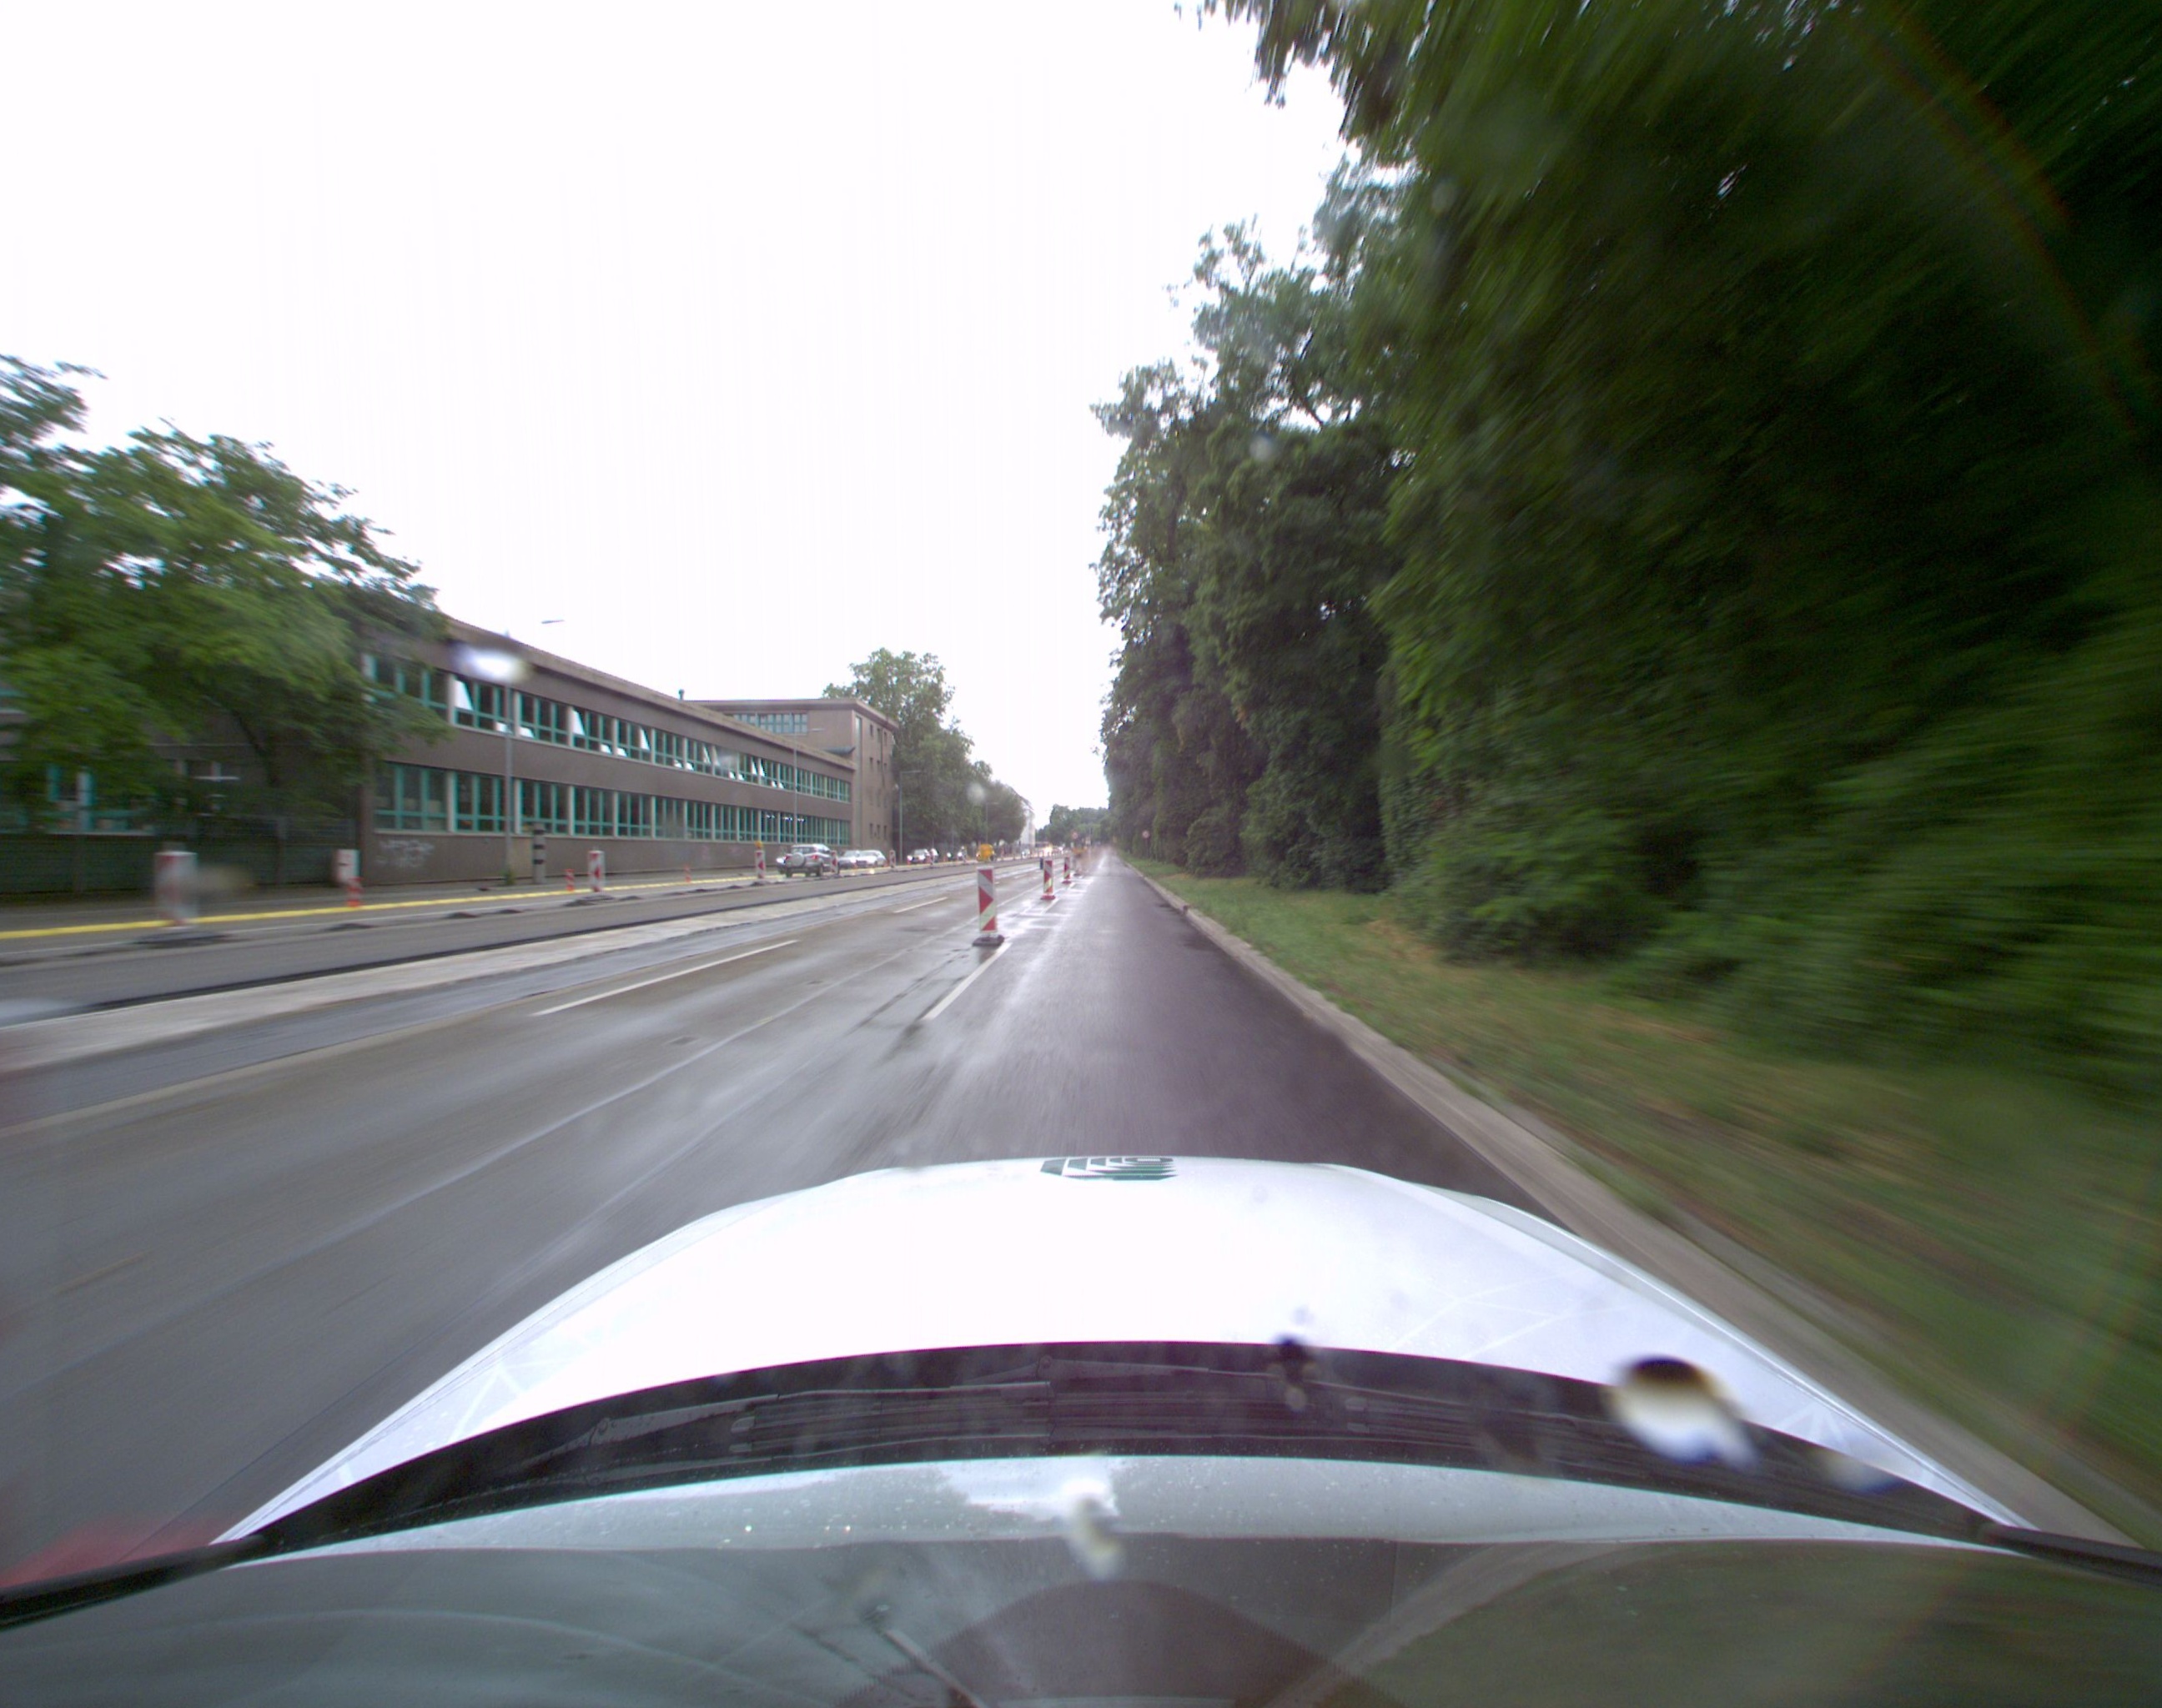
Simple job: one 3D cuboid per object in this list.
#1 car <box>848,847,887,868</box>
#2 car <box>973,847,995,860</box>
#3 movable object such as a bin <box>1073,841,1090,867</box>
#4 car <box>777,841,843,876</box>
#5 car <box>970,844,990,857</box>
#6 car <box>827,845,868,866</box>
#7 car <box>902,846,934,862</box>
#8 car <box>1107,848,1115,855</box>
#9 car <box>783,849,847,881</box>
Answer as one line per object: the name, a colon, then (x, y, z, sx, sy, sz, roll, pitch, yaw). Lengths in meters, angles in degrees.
car: (-16.043, 0.244, 61.362, 1.797, 1.534, 3.993, 1, 0, 2)
car: (-11.843, -0.004, 99.550, 1.986, 1.519, 4.001, 1, 0, 2)
movable object such as a bin: (0.082, -0.023, 109.512, 1.986, 3.367, 5.985, 1, 0, 2)
car: (-13.520, 0.215, 40.865, 1.847, 1.648, 4.002, 1, 0, 2)
car: (-14.682, -0.464, 118.904, 1.985, 1.780, 4.959, 1, 0, 4)
car: (-18.824, 0.150, 65.902, 1.986, 1.586, 4.180, 1, 0, 2)
car: (-15.594, 0.009, 78.185, 1.886, 1.502, 4.520, 1, 0, 3)
car: (7.810, -0.630, 210.507, 1.986, 1.673, 4.002, 1, 0, 2)
car: (-15.644, 0.630, 48.235, 1.980, 1.768, 4.678, 1, 0, 3)
